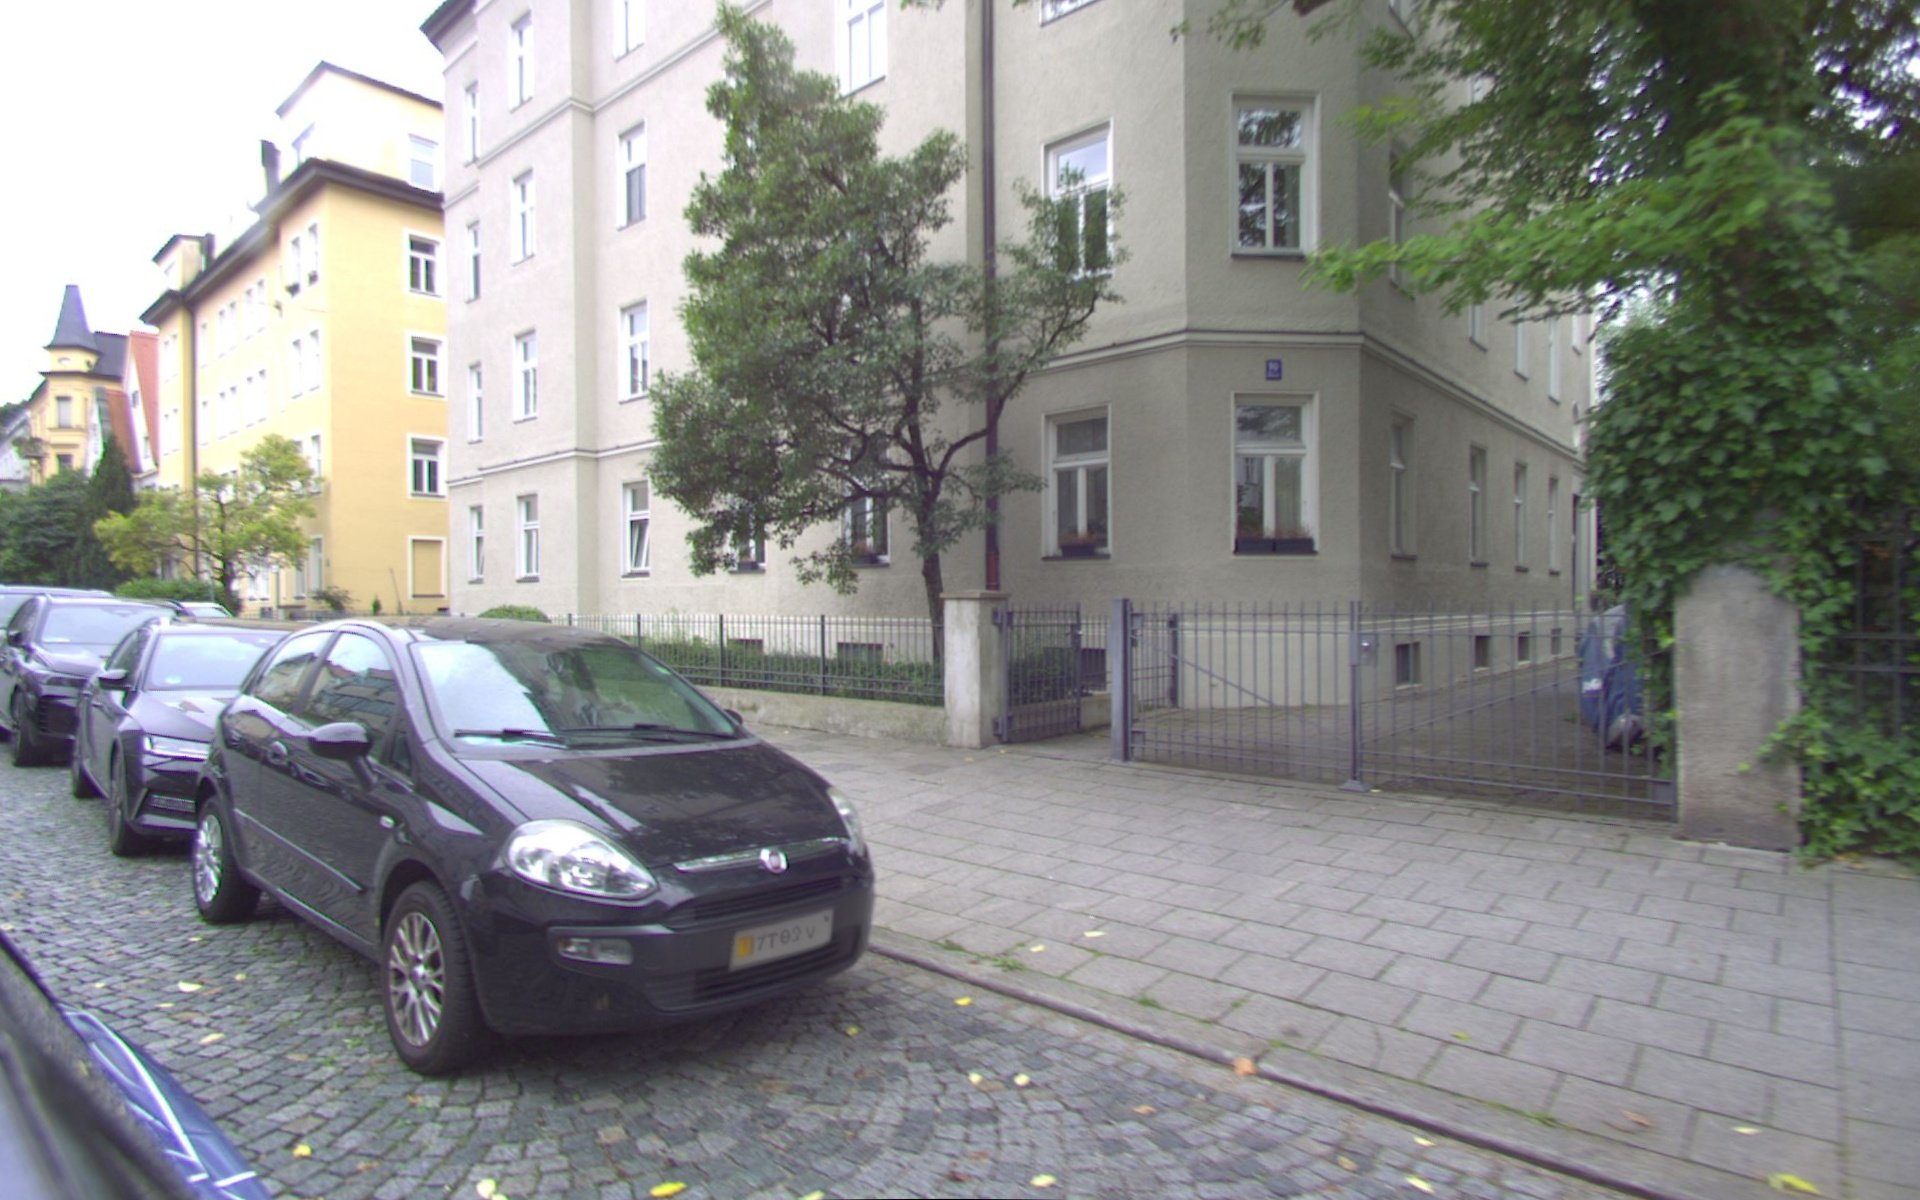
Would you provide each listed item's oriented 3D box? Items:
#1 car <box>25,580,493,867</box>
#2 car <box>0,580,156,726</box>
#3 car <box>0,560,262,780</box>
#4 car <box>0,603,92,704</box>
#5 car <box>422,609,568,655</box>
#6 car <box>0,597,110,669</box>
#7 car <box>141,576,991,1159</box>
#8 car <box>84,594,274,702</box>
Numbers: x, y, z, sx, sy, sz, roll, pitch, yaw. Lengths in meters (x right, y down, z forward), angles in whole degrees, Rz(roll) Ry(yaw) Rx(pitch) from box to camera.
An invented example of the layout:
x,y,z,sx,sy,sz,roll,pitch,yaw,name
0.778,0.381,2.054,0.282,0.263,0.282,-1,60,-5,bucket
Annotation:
x,y,z,sx,sy,sz,roll,pitch,yaw,name
-5.758,0.742,8.000,5.016,1.573,1.957,-1,-2,42,car
-14.170,0.764,15.604,4.824,1.932,1.854,-1,-3,41,car
-9.818,0.702,11.320,5.174,1.932,1.972,-1,-4,41,car
-18.273,0.979,19.251,4.398,1.748,1.847,-1,-3,39,car
-15.462,1.039,33.789,1.833,1.434,4.024,-1,-1,42,car
-27.485,0.949,30.481,5.327,1.945,1.974,-1,1,40,car
-2.014,0.707,4.492,4.166,1.455,1.646,-1,-2,38,car
-15.104,0.843,19.487,4.654,1.748,1.925,-1,2,41,car
